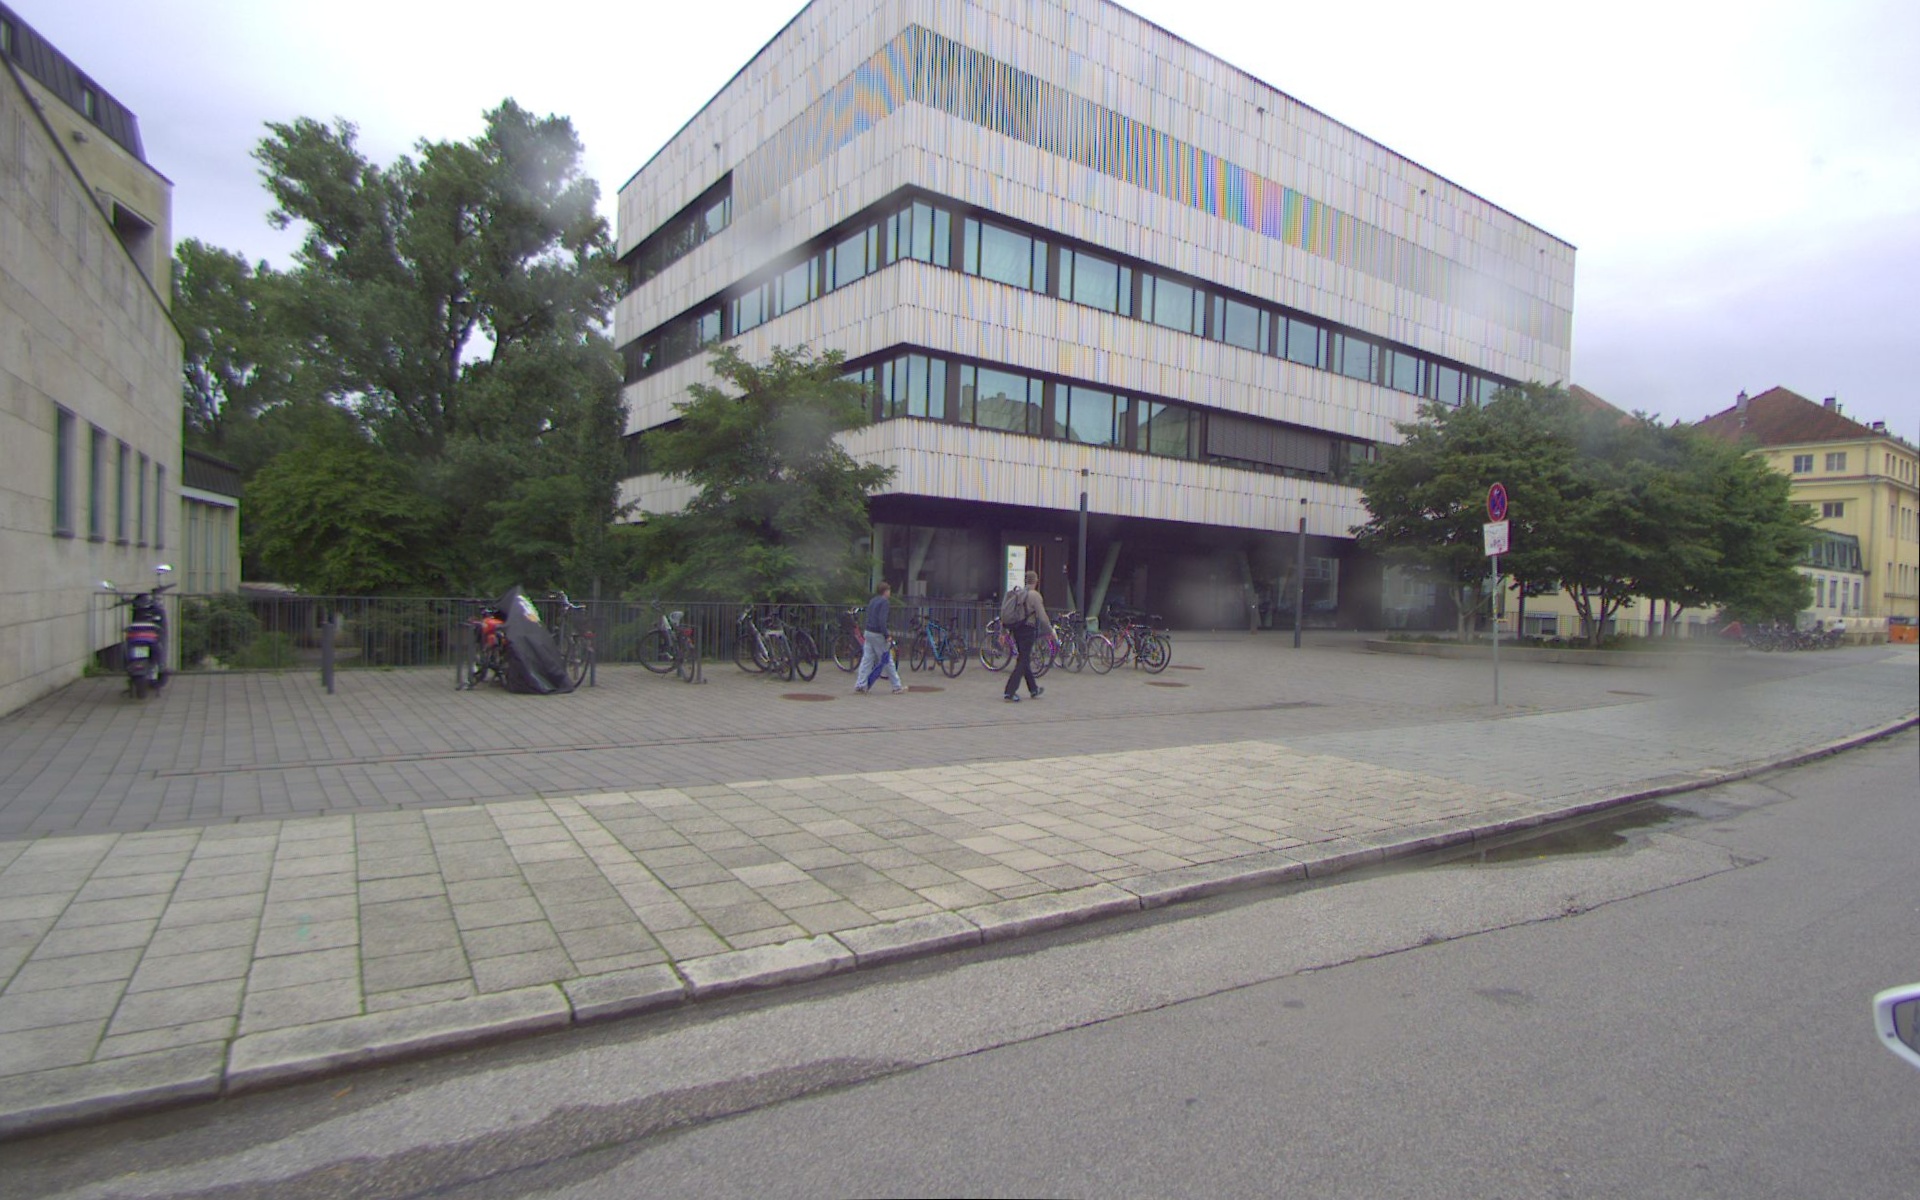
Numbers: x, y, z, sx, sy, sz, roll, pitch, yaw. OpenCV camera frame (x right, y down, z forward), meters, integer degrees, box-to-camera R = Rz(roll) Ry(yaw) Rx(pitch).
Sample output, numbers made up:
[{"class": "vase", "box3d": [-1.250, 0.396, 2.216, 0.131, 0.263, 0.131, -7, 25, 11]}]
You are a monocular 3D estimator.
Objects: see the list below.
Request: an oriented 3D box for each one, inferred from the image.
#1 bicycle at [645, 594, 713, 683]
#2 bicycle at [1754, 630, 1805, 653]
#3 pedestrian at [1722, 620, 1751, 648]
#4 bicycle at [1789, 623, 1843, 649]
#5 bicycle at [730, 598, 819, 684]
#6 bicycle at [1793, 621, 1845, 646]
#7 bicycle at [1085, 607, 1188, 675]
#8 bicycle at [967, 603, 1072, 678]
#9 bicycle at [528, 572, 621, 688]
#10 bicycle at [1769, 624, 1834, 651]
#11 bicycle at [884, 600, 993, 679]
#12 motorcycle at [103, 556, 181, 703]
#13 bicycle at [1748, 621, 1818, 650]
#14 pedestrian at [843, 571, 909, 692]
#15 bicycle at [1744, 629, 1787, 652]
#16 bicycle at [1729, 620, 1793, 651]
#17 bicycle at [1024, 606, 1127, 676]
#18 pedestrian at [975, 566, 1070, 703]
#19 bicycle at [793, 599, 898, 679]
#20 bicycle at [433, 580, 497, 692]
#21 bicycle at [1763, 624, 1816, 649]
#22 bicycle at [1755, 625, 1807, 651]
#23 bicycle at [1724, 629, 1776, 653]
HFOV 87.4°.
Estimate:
[{"class": "bicycle", "box3d": [-4.191, 0.529, 14.887, 0.608, 1.126, 2.038, 1, 3, -26]}, {"class": "bicycle", "box3d": [37.932, 1.907, 46.506, 0.589, 0.929, 1.665, 0, 3, -32]}, {"class": "pedestrian", "box3d": [34.706, 1.511, 44.903, 1.031, 1.178, 0.712, 0, 4, -38]}, {"class": "bicycle", "box3d": [43.393, 1.824, 50.949, 0.566, 1.147, 1.945, 0, 3, -32]}, {"class": "bicycle", "box3d": [-2.897, 0.588, 15.504, 0.610, 1.126, 2.033, 0, 3, -33]}, {"class": "bicycle", "box3d": [44.571, 1.741, 52.117, 0.670, 1.107, 1.893, 0, 3, -32]}, {"class": "bicycle", "box3d": [3.385, 0.764, 19.467, 0.611, 1.126, 2.028, 0, 4, -39]}, {"class": "bicycle", "box3d": [1.012, 0.685, 17.704, 0.611, 1.126, 2.028, 0, 4, -39]}, {"class": "bicycle", "box3d": [-5.231, 0.353, 13.549, 0.608, 1.370, 2.082, 0, 4, -37]}, {"class": "bicycle", "box3d": [41.263, 1.820, 49.278, 0.575, 1.150, 2.297, 0, 3, -32]}, {"class": "bicycle", "box3d": [-0.388, 0.630, 16.854, 0.612, 1.126, 2.025, 0, 4, -43]}, {"class": "motorcycle", "box3d": [-8.687, 0.266, 10.712, 0.510, 1.424, 1.553, 0, 3, -34]}, {"class": "bicycle", "box3d": [39.504, 1.689, 48.253, 0.420, 1.222, 2.539, 0, 1, -32]}, {"class": "pedestrian", "box3d": [-1.167, 0.415, 14.004, 0.633, 1.623, 0.605, 4, 3, 28]}, {"class": "bicycle", "box3d": [35.518, 1.792, 44.306, 0.435, 0.874, 1.362, 0, 3, -36]}, {"class": "bicycle", "box3d": [36.381, 1.592, 45.650, 0.778, 1.244, 2.092, 0, 3, -32]}, {"class": "bicycle", "box3d": [2.130, 0.733, 18.849, 0.611, 1.126, 2.028, 0, 4, -39]}, {"class": "pedestrian", "box3d": [0.880, 0.462, 14.088, 0.777, 1.806, 1.009, 5, 2, 42]}, {"class": "bicycle", "box3d": [-1.922, 0.601, 16.570, 0.612, 1.126, 2.025, 0, 4, -43]}, {"class": "bicycle", "box3d": [-6.267, 0.417, 12.696, 0.458, 1.277, 1.439, 0, 4, -37]}, {"class": "bicycle", "box3d": [40.105, 1.735, 48.586, 0.534, 1.043, 1.856, 0, 3, -32]}, {"class": "bicycle", "box3d": [38.960, 1.780, 47.681, 0.502, 1.047, 1.780, 0, 3, -32]}, {"class": "bicycle", "box3d": [34.500, 1.766, 43.871, 0.435, 0.874, 1.706, 0, 3, -36]}]
